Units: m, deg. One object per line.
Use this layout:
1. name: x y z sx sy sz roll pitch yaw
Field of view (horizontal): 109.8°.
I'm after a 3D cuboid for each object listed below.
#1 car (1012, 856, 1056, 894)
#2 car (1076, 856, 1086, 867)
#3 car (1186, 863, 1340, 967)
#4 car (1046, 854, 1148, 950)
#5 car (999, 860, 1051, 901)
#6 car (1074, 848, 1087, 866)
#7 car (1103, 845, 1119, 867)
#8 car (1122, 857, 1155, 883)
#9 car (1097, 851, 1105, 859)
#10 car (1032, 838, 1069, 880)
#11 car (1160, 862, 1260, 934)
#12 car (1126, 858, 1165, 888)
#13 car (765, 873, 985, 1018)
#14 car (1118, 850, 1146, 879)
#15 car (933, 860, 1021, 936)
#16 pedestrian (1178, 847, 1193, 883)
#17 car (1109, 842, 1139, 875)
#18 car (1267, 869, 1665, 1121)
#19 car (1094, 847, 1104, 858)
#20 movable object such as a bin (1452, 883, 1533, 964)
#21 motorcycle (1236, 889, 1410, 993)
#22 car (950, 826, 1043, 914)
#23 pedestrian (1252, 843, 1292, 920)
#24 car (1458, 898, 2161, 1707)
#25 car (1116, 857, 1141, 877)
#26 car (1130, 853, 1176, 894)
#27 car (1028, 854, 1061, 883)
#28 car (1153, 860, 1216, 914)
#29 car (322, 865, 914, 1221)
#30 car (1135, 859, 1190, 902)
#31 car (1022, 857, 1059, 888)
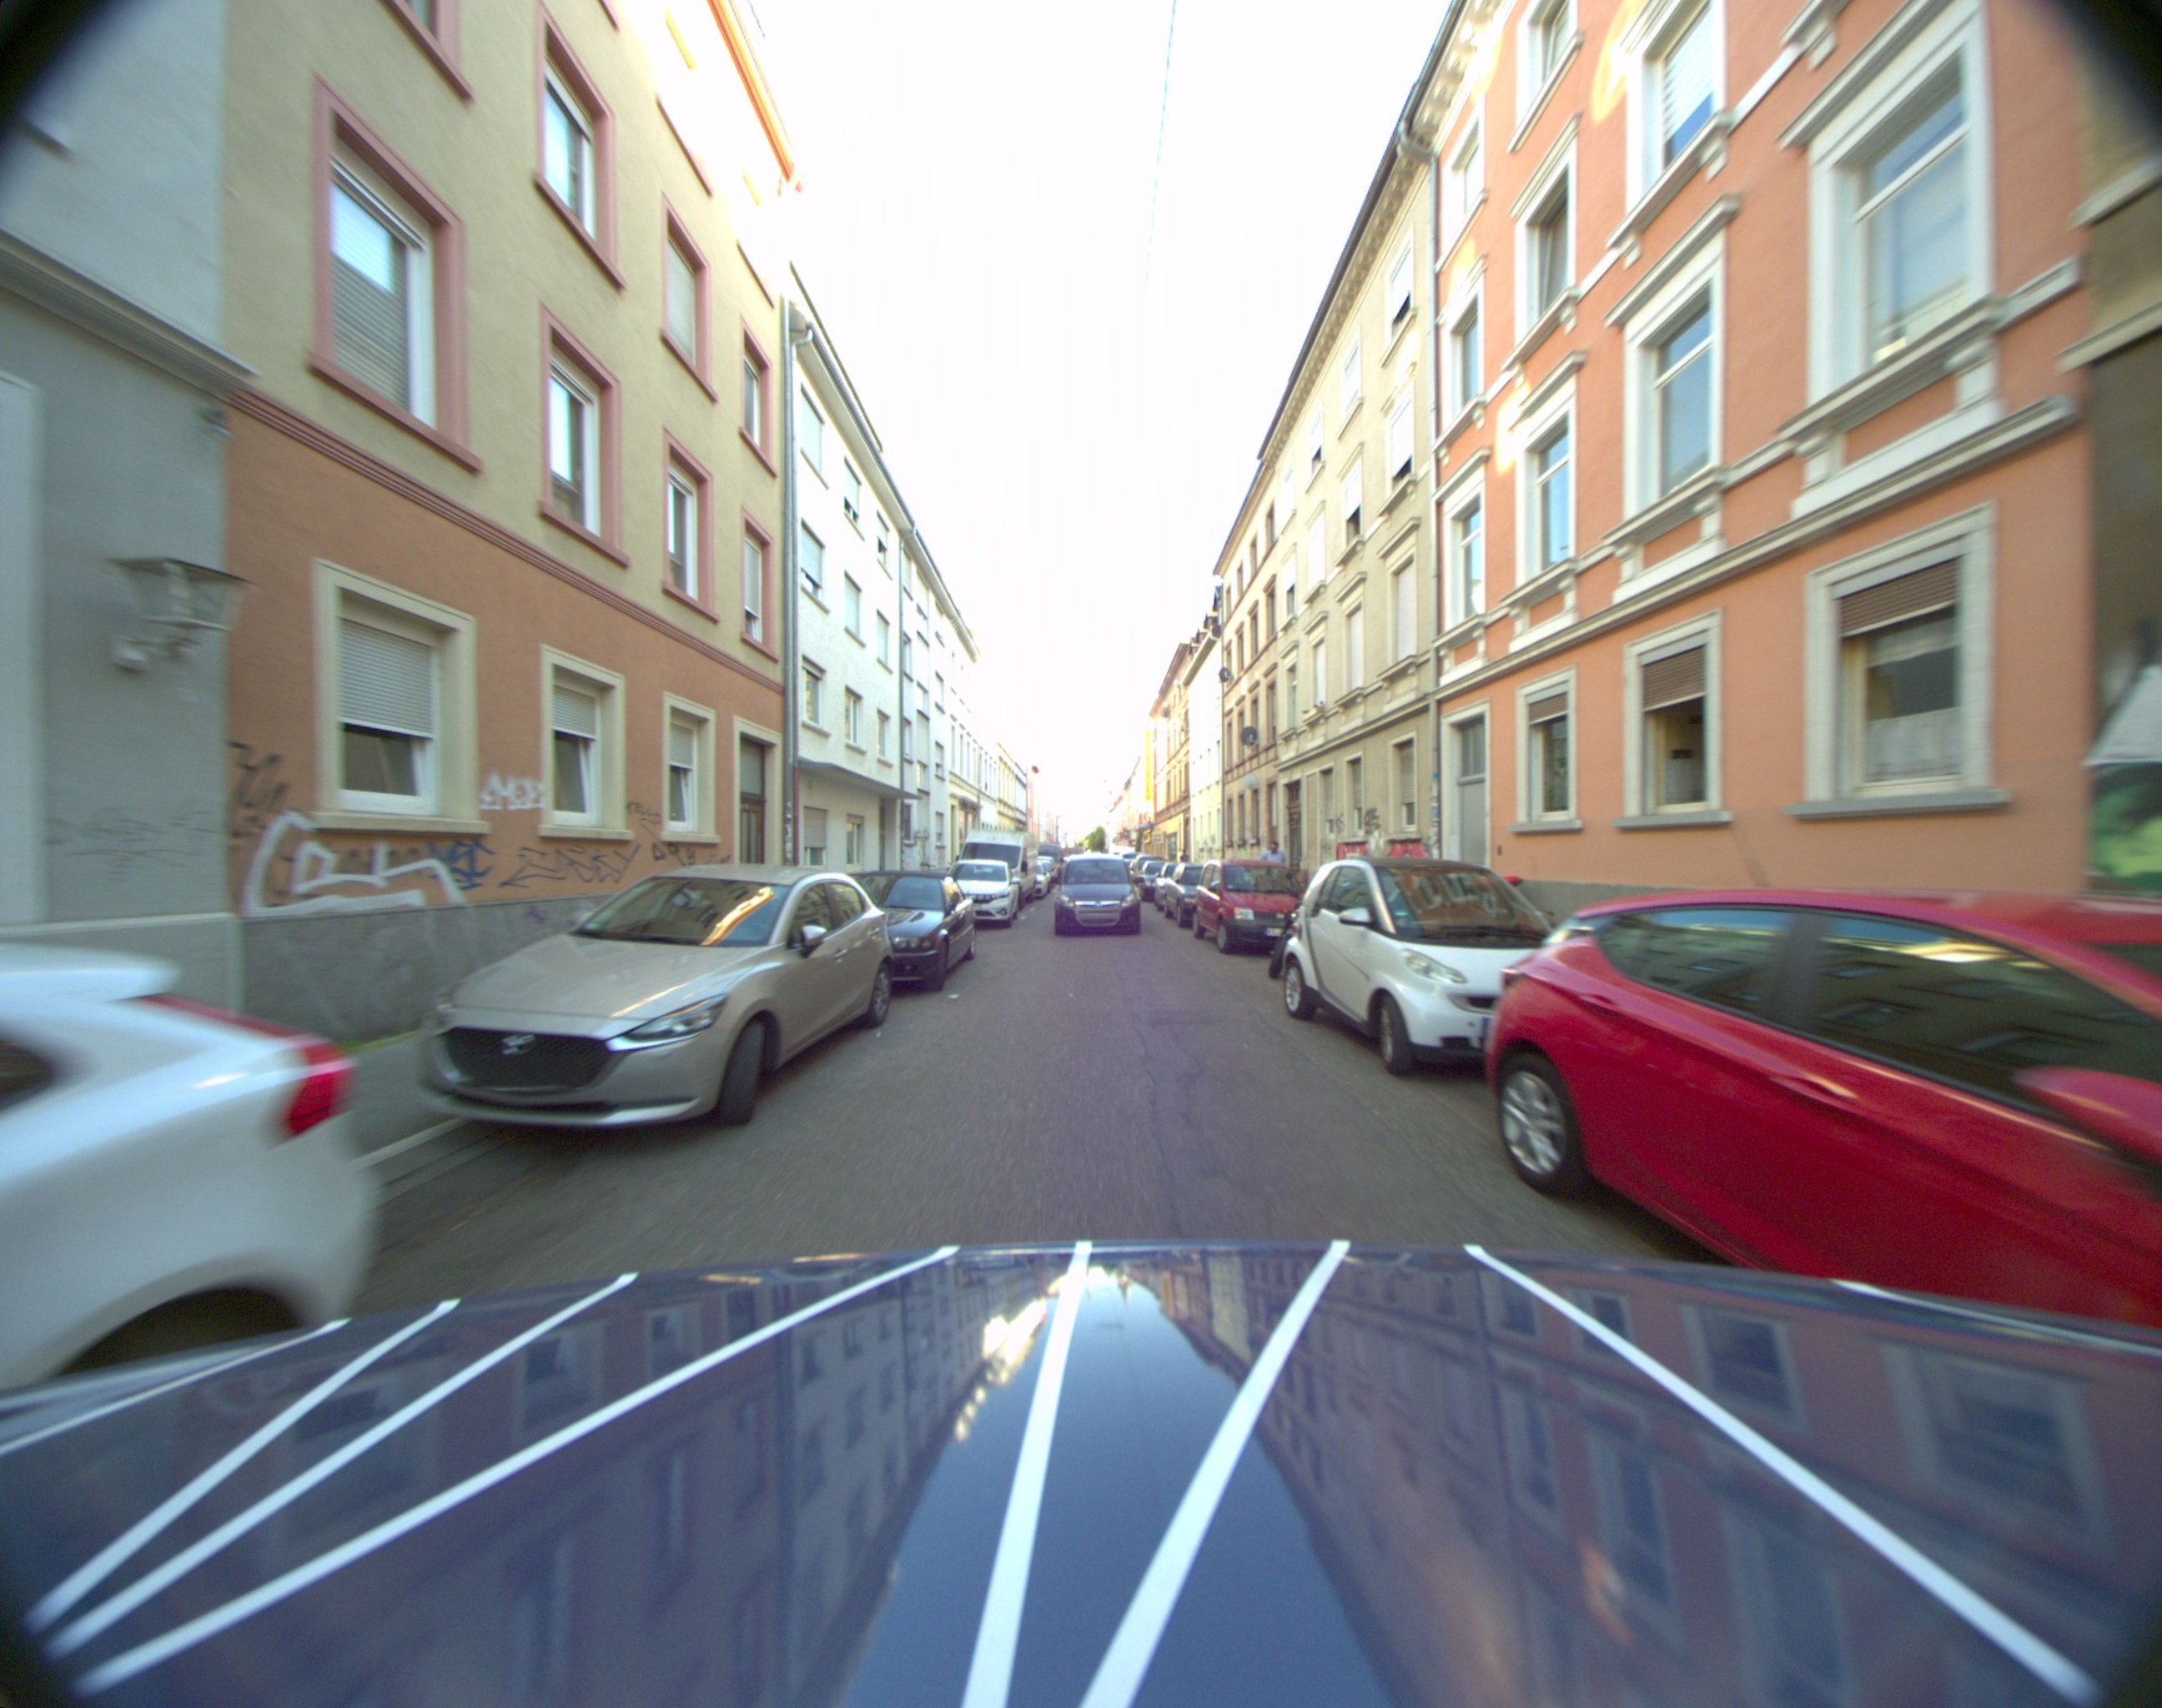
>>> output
1. car: -2.107 0.930 34.943 1.683 1.556 3.860 -2 0 1
2. car: 0.050 1.361 140.251 1.683 2.077 4.159 -2 0 0
3. car: 2.957 0.919 13.074 1.683 1.483 3.611 0 0 -2
4. car: 0.284 0.871 16.300 1.798 1.652 5.184 -2 0 0
5. car: -2.143 0.990 30.115 1.683 1.434 3.860 -2 0 1
6. car: -0.110 0.619 147.317 2.437 3.404 5.543 -2 0 0
7. car: 3.249 0.193 83.338 1.683 2.352 4.098 0 0 1
8. car: 3.269 0.921 43.988 1.683 1.407 3.860 0 0 1
9. car: 4.777 0.325 182.452 1.683 1.851 4.159 -2 0 0
10. car: -1.996 0.313 51.557 2.050 2.662 6.185 -2 0 1
11. car: 2.936 0.937 18.100 1.683 1.454 4.313 0 0 1
12. car: 3.261 0.921 38.948 1.683 1.448 3.860 0 0 1
13. car: -2.492 1.040 10.423 1.772 1.386 4.494 -2 0 0
14. car: 3.374 0.667 50.795 1.751 1.880 4.772 0 0 3
15. car: -2.377 0.957 18.219 1.684 1.550 3.859 -2 0 -2
16. pedestrian: 5.336 0.553 38.894 0.626 1.820 0.594 -2 1 1
17. car: 3.457 0.320 62.023 2.094 2.576 5.842 0 0 0
18. car: 2.838 0.934 6.345 1.684 1.540 2.959 1 0 -3
19. car: 5.072 -0.357 212.596 2.565 3.029 7.061 -2 0 0
20. movable object such as a bin: 5.767 0.962 10.687 0.779 1.043 0.662 -3 0 9
21. motorcycle: 3.132 1.076 9.838 2.083 1.121 0.789 -2 1 -21
22. car: -2.597 0.470 25.084 2.050 2.498 6.024 -2 0 3
23. pedestrian: 4.626 0.662 18.428 0.790 1.820 0.594 -2 1 1
24. car: 2.812 0.986 1.779 1.683 1.465 4.202 2 0 -1
25. car: 3.457 0.925 55.984 1.683 1.381 3.860 0 0 1
26. car: 3.140 0.810 33.666 1.683 1.674 3.860 0 0 1
27. car: -2.147 0.844 45.389 1.683 1.626 3.860 -2 0 0
28. car: 3.069 0.942 23.087 1.683 1.454 3.861 0 0 5
29. car: -2.670 0.940 5.705 1.683 1.588 4.190 -2 0 3
30. car: 2.958 0.916 28.270 1.683 1.454 3.860 0 0 1
31. car: -2.092 0.944 40.105 1.683 1.511 3.859 -2 0 0
